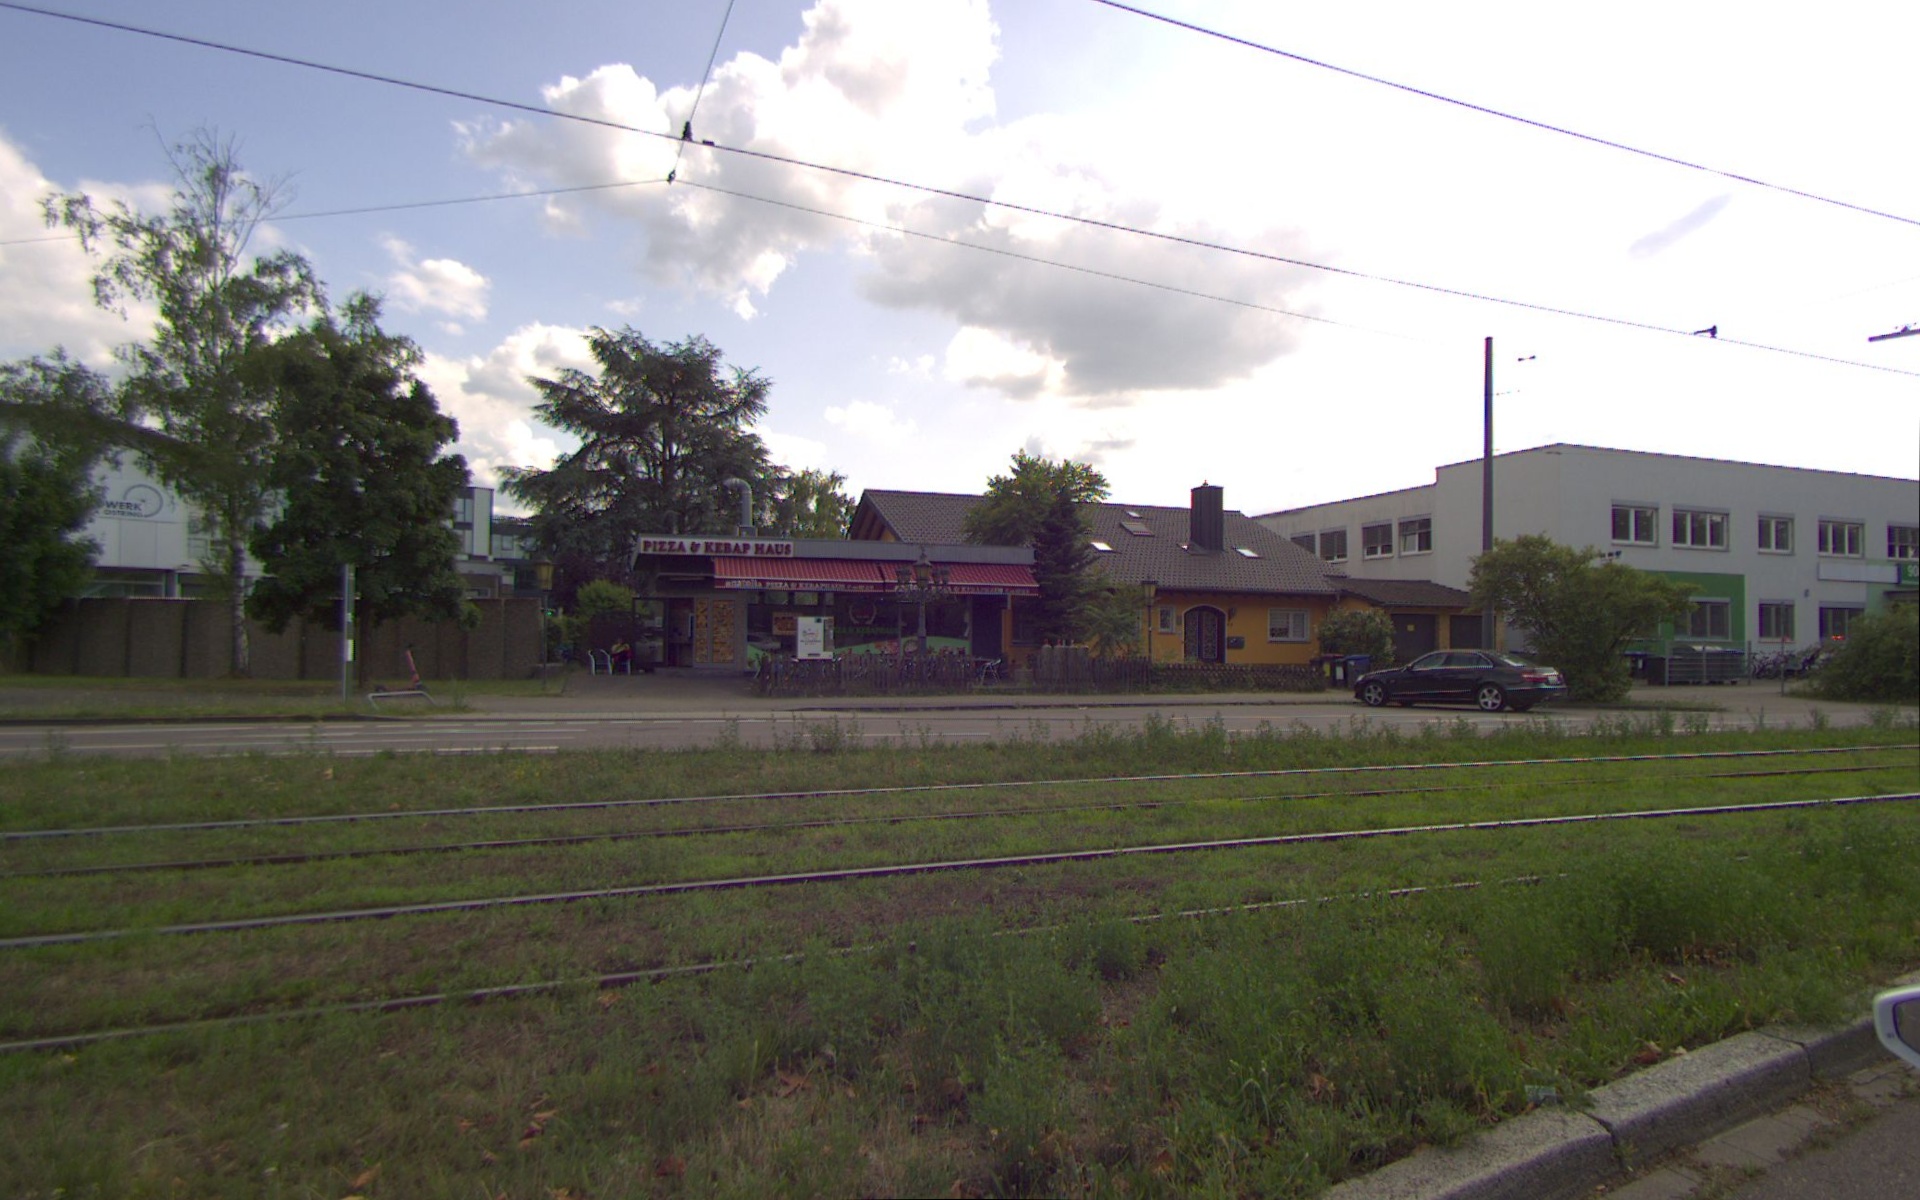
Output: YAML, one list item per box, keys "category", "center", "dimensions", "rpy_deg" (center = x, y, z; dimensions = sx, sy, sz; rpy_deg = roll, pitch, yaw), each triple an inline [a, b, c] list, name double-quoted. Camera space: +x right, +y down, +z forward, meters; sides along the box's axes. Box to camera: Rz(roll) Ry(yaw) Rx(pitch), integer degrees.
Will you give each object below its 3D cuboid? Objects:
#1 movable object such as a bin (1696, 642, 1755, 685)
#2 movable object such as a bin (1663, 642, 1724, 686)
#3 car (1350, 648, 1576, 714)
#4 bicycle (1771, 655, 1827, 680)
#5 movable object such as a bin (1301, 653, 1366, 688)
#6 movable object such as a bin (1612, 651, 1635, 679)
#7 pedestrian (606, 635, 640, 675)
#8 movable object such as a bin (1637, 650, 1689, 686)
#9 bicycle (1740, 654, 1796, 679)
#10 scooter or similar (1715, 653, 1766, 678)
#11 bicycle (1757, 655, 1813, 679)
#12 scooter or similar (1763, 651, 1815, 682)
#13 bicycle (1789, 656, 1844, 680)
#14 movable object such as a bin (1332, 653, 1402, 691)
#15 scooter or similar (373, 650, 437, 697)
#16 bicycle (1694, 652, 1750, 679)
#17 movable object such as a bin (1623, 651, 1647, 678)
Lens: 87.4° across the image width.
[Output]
- category: "movable object such as a bin"
  center: [28.503, 2.344, 37.408]
  dimensions: [1.578, 1.540, 1.005]
  rpy_deg: [0, 0, -17]
- category: "movable object such as a bin"
  center: [26.916, 2.321, 36.889]
  dimensions: [1.684, 1.540, 1.005]
  rpy_deg: [0, 0, -17]
- category: "car"
  center: [12.155, 1.923, 24.527]
  dimensions: [1.867, 1.425, 4.600]
  rpy_deg: [4, -4, -38]
- category: "bicycle"
  center: [35.892, 2.881, 42.982]
  dimensions: [0.451, 0.911, 1.856]
  rpy_deg: [2, -1, -18]
- category: "movable object such as a bin"
  center: [12.167, 2.289, 32.740]
  dimensions: [1.593, 1.107, 1.253]
  rpy_deg: [1, -2, -20]
- category: "movable object such as a bin"
  center: [26.497, 2.590, 40.119]
  dimensions: [0.555, 1.056, 0.568]
  rpy_deg: [0, 0, -18]
- category: "pedestrian"
  center: [-10.046, 1.642, 29.972]
  dimensions: [0.917, 1.161, 1.152]
  rpy_deg: [1, -2, -18]
- category: "movable object such as a bin"
  center: [25.474, 2.449, 36.428]
  dimensions: [1.236, 1.250, 1.005]
  rpy_deg: [0, 0, -17]
- category: "bicycle"
  center: [34.000, 2.800, 42.292]
  dimensions: [0.451, 0.911, 1.856]
  rpy_deg: [2, -1, -18]
- category: "scooter or similar"
  center: [32.546, 2.732, 41.910]
  dimensions: [0.451, 0.911, 1.734]
  rpy_deg: [2, -1, -18]
- category: "bicycle"
  center: [35.054, 2.845, 42.694]
  dimensions: [0.451, 0.911, 1.856]
  rpy_deg: [2, -1, -18]
- category: "scooter or similar"
  center: [33.263, 2.660, 40.341]
  dimensions: [1.072, 1.171, 1.308]
  rpy_deg: [2, -1, 10]
- category: "bicycle"
  center: [36.886, 2.925, 43.285]
  dimensions: [0.451, 0.911, 1.856]
  rpy_deg: [2, -1, -18]
- category: "movable object such as a bin"
  center: [12.703, 2.237, 31.377]
  dimensions: [1.593, 1.115, 1.253]
  rpy_deg: [1, -2, -20]
- category: "scooter or similar"
  center: [-12.748, 1.688, 23.093]
  dimensions: [1.201, 1.047, 0.427]
  rpy_deg: [1, -2, -9]
- category: "bicycle"
  center: [31.234, 2.679, 41.200]
  dimensions: [0.451, 0.999, 1.856]
  rpy_deg: [2, -1, -18]
- category: "movable object such as a bin"
  center: [27.112, 2.598, 40.339]
  dimensions: [0.555, 1.056, 0.568]
  rpy_deg: [0, 0, -18]
